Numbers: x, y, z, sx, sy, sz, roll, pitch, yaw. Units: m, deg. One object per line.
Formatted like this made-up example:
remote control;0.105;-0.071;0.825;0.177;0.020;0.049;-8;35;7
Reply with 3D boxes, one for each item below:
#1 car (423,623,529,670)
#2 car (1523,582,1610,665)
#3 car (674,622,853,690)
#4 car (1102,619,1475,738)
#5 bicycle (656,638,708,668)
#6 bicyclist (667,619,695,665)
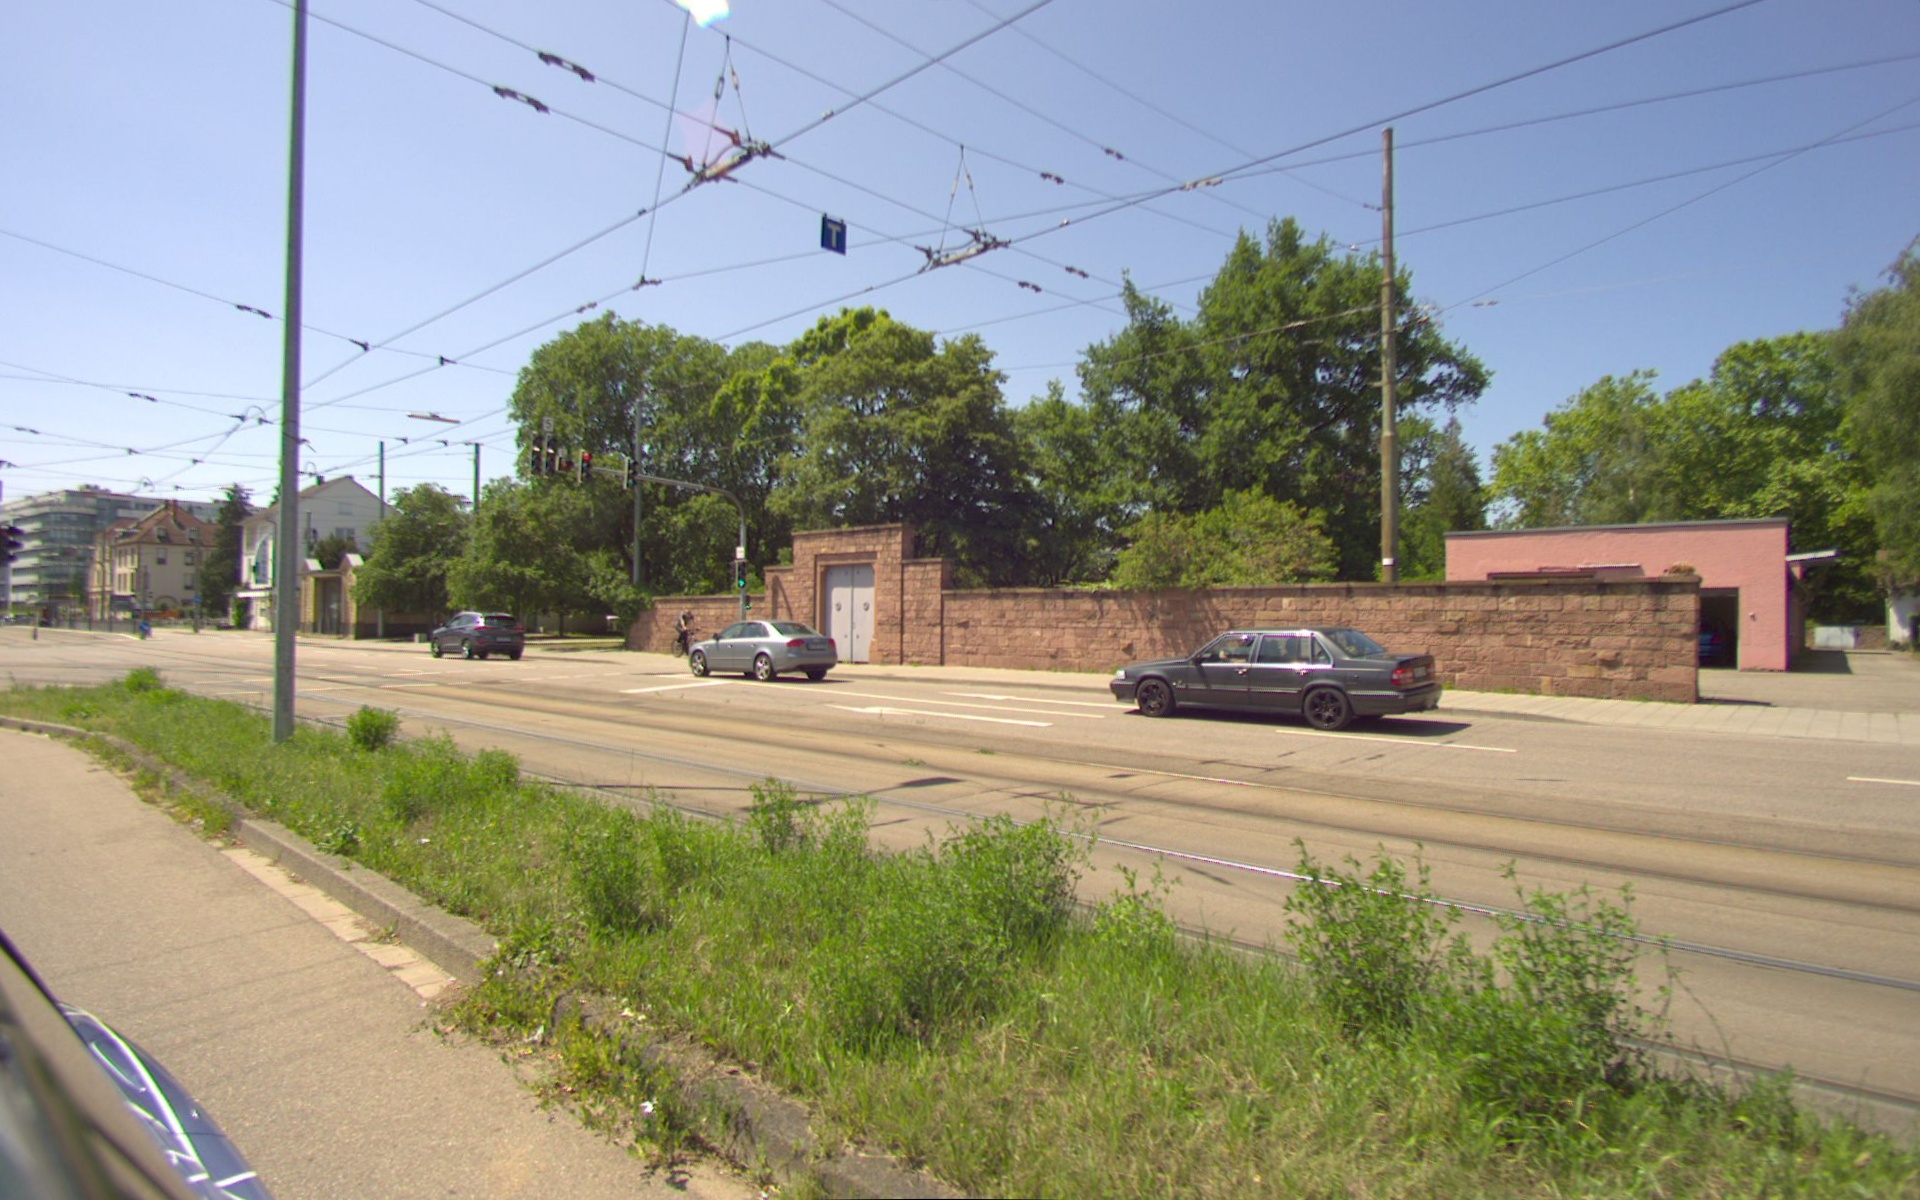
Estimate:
car;-17.173;1.621;35.816;4.465;1.567;1.821;-2;-2;42
car;19.463;0.742;32.401;1.883;2.485;4.335;-1;-2;37
car;-4.850;1.295;24.533;4.711;1.427;1.821;-2;1;43
car;4.754;1.063;15.241;5.034;1.427;1.821;-2;1;43
bicycle;-9.421;1.778;34.250;2.114;0.964;0.645;-1;-2;42
bicyclist;-9.447;1.412;34.276;0.662;1.508;0.645;-2;-2;41
